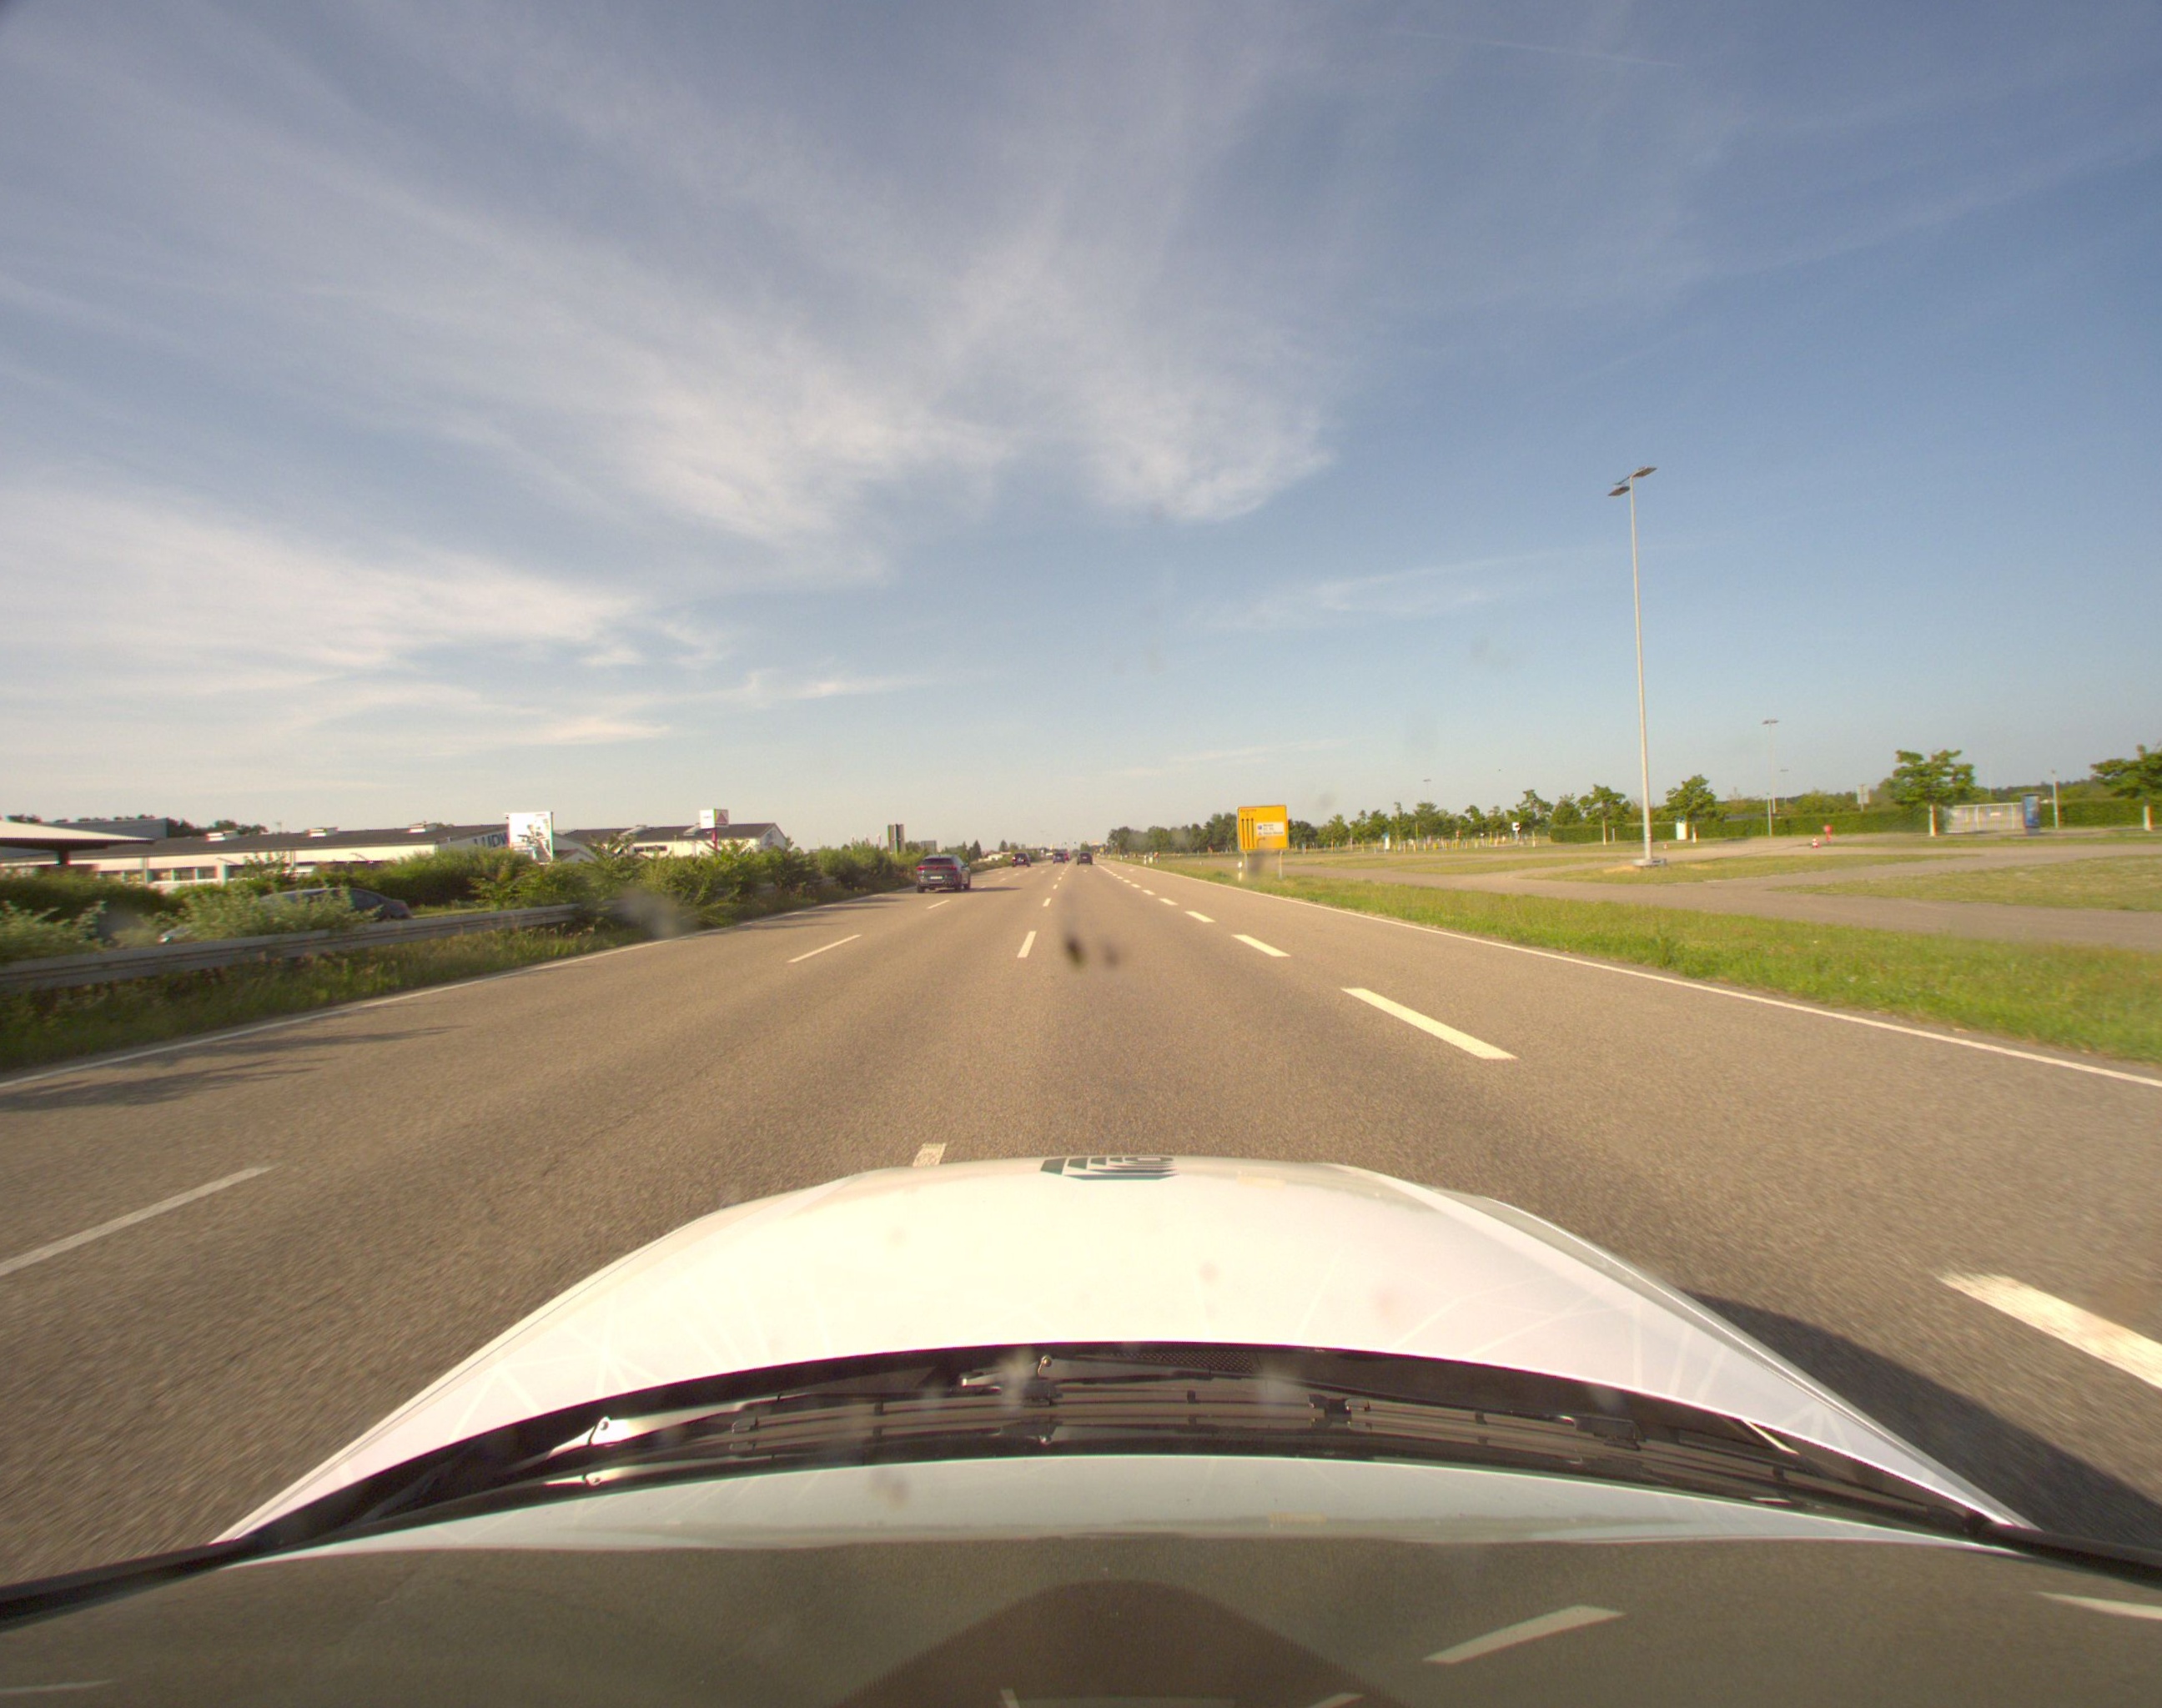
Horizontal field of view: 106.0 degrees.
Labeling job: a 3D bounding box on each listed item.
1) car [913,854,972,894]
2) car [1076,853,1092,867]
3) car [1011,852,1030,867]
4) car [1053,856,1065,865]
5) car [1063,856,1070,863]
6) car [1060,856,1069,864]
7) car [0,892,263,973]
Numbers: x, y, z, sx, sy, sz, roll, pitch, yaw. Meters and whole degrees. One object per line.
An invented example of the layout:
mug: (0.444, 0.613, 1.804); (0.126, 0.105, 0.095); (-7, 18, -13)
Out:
car: (-5.924, 0.805, 35.371); (1.840, 1.612, 4.399); (0, 0, 0)
car: (0.327, 0.733, 101.977); (1.926, 1.680, 4.399); (0, 0, 0)
car: (-6.908, 0.620, 93.243); (1.926, 1.680, 4.399); (0, 0, 0)
car: (-3.330, 0.964, 123.469); (1.807, 1.463, 4.399); (0, 0, 0)
car: (-3.421, 1.273, 198.049); (1.640, 1.728, 3.399); (-1, -1, -1)
car: (-3.023, 1.059, 148.371); (1.642, 1.463, 3.979); (0, 0, 0)
car: (-17.581, 1.335, 14.732); (1.738, 1.157, 3.784); (-1, -1, -1)
